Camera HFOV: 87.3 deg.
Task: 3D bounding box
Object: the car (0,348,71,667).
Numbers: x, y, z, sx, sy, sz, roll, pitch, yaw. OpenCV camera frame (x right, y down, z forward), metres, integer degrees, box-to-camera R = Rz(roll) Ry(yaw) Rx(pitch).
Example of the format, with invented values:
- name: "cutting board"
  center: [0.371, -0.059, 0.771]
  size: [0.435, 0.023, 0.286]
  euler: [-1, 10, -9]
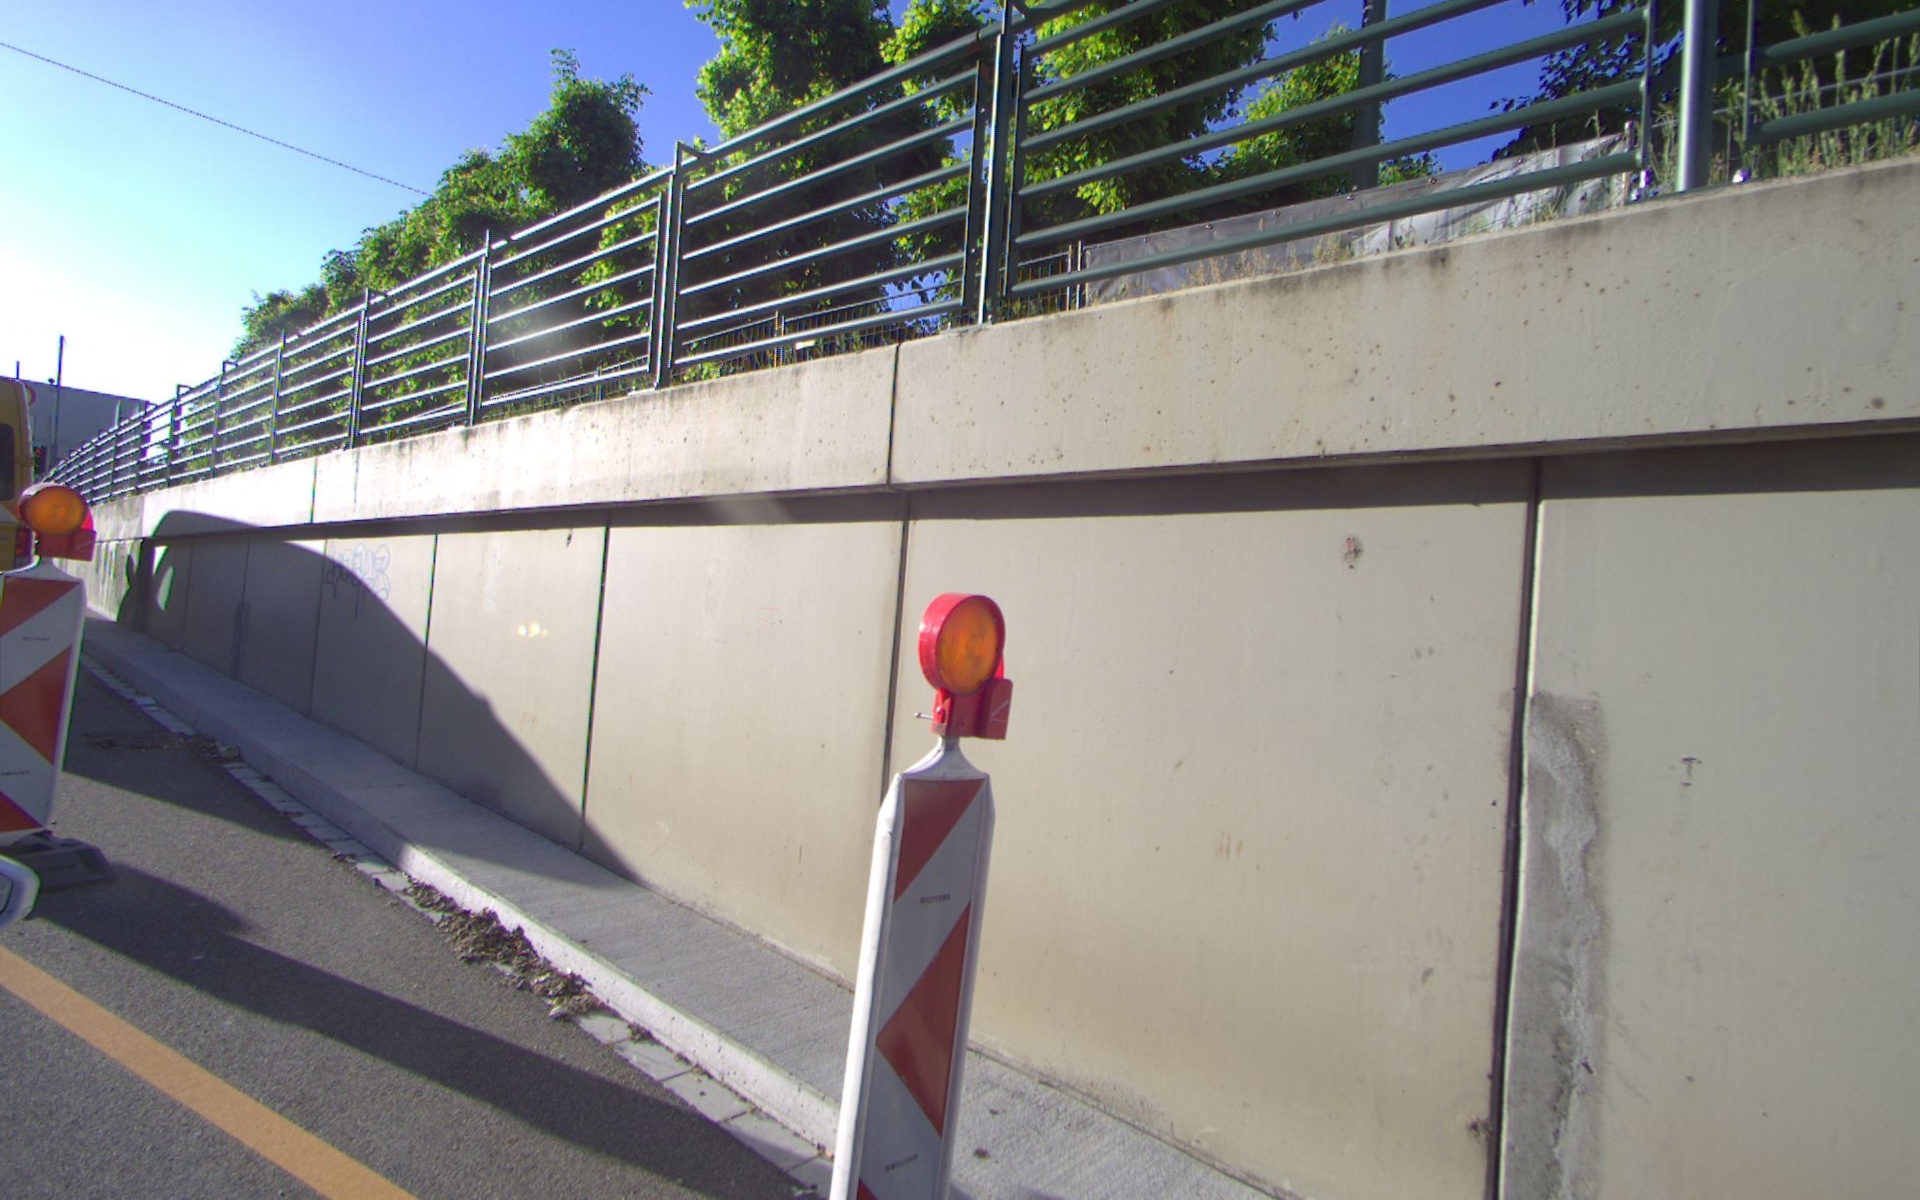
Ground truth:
- name: "car"
  center: [-11.031, -1.073, 10.284]
  size: [6.893, 2.657, 2.107]
  euler: [6, 0, 43]
